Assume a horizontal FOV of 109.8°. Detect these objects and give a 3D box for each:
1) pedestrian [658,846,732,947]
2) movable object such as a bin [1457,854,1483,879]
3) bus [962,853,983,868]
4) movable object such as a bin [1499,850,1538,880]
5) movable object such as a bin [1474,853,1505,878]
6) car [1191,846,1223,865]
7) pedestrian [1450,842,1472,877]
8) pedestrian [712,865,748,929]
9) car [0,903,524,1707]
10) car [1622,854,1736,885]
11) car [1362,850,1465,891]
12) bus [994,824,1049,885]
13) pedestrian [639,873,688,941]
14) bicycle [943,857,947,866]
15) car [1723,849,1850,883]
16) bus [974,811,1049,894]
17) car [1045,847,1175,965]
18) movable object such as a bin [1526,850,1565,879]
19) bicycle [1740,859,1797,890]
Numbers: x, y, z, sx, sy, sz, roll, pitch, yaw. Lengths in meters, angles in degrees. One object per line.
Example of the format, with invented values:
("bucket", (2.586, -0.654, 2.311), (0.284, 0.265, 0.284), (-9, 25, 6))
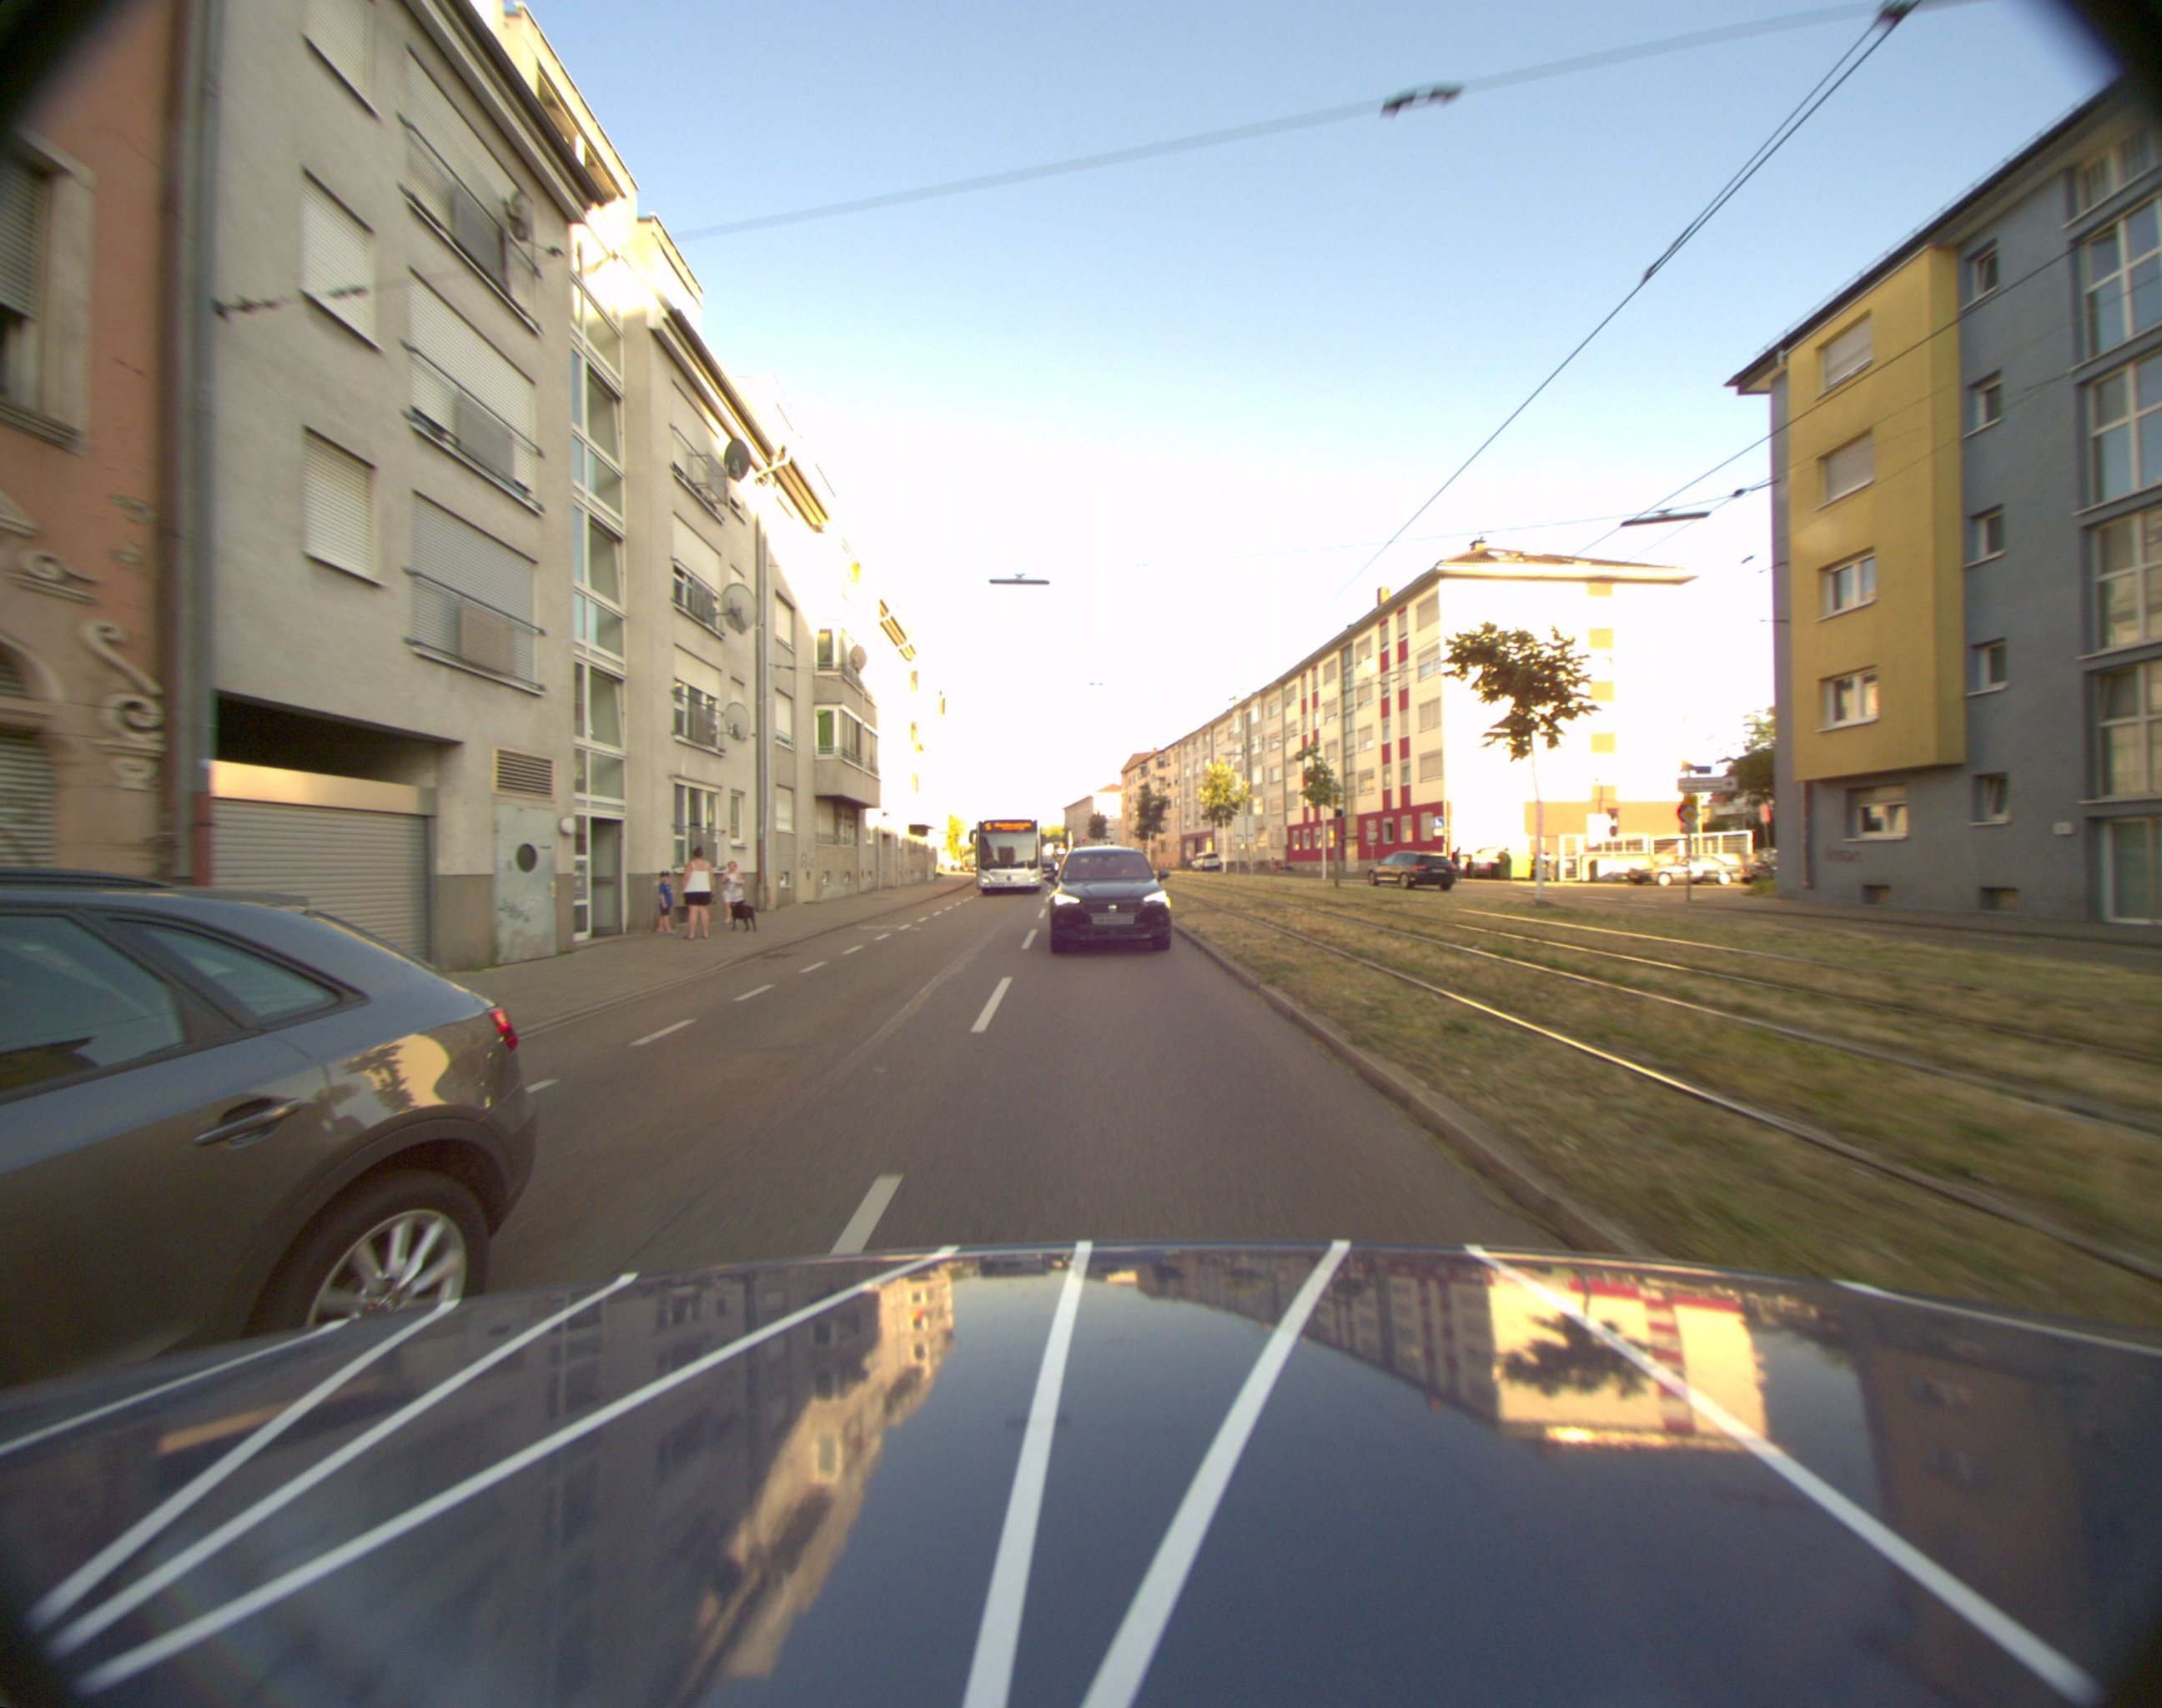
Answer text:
("pedestrian", (-6.993, 0.748, 13.818), (0.832, 1.761, 0.996), (0, 0, 0))
("movable object such as a bin", (19.614, 0.614, 38.354), (0.868, 1.219, 0.806), (-1, 1, -4))
("bus", (-23.198, 1.411, 162.353), (3.878, 2.835, 13.816), (-2, 0, -10))
("movable object such as a bin", (21.225, 0.525, 36.904), (1.220, 1.407, 1.138), (-1, 1, -4))
("movable object such as a bin", (20.668, 0.575, 38.450), (1.161, 1.278, 0.806), (-1, 1, -4))
("car", (12.448, 0.186, 75.221), (1.872, 1.818, 4.418), (-1, 0, -8))
("pedestrian", (18.393, 0.270, 36.776), (0.615, 1.679, 0.791), (-1, 0, -5))
("pedestrian", (-7.620, 0.921, 16.502), (0.515, 1.336, 0.609), (1, 1, -4))
("car", (-2.783, 0.946, 0.543), (1.771, 1.577, 4.068), (-1, -1, 0))
("car", (26.658, 0.679, 33.941), (3.873, 1.286, 1.701), (-1, 0, -3))
("car", (13.217, 0.600, 30.544), (1.798, 1.460, 4.794), (2, 1, -3))
("bus", (-3.301, 0.050, 44.634), (2.713, 3.059, 10.598), (-2, 0, -2))
("pedestrian", (-7.818, 0.980, 14.249), (0.589, 1.244, 0.584), (0, 0, 0))
("bicycle", (-15.989, 0.878, 89.392), (0.361, 1.026, 1.728), (3, -1, -11))
("car", (31.724, 0.530, 34.260), (3.997, 1.499, 1.899), (0, 0, -1))
("bus", (-2.855, -0.018, 34.018), (2.732, 3.059, 10.598), (-2, 0, -2))
("car", (0.432, 0.767, 12.905), (1.788, 1.614, 4.217), (-2, -1, 0))
("movable object such as a bin", (22.592, 0.510, 36.980), (1.220, 1.407, 1.107), (-1, 1, -4))
("bicycle", (24.747, 0.728, 27.345), (1.962, 1.069, 0.602), (0, 1, -17))
